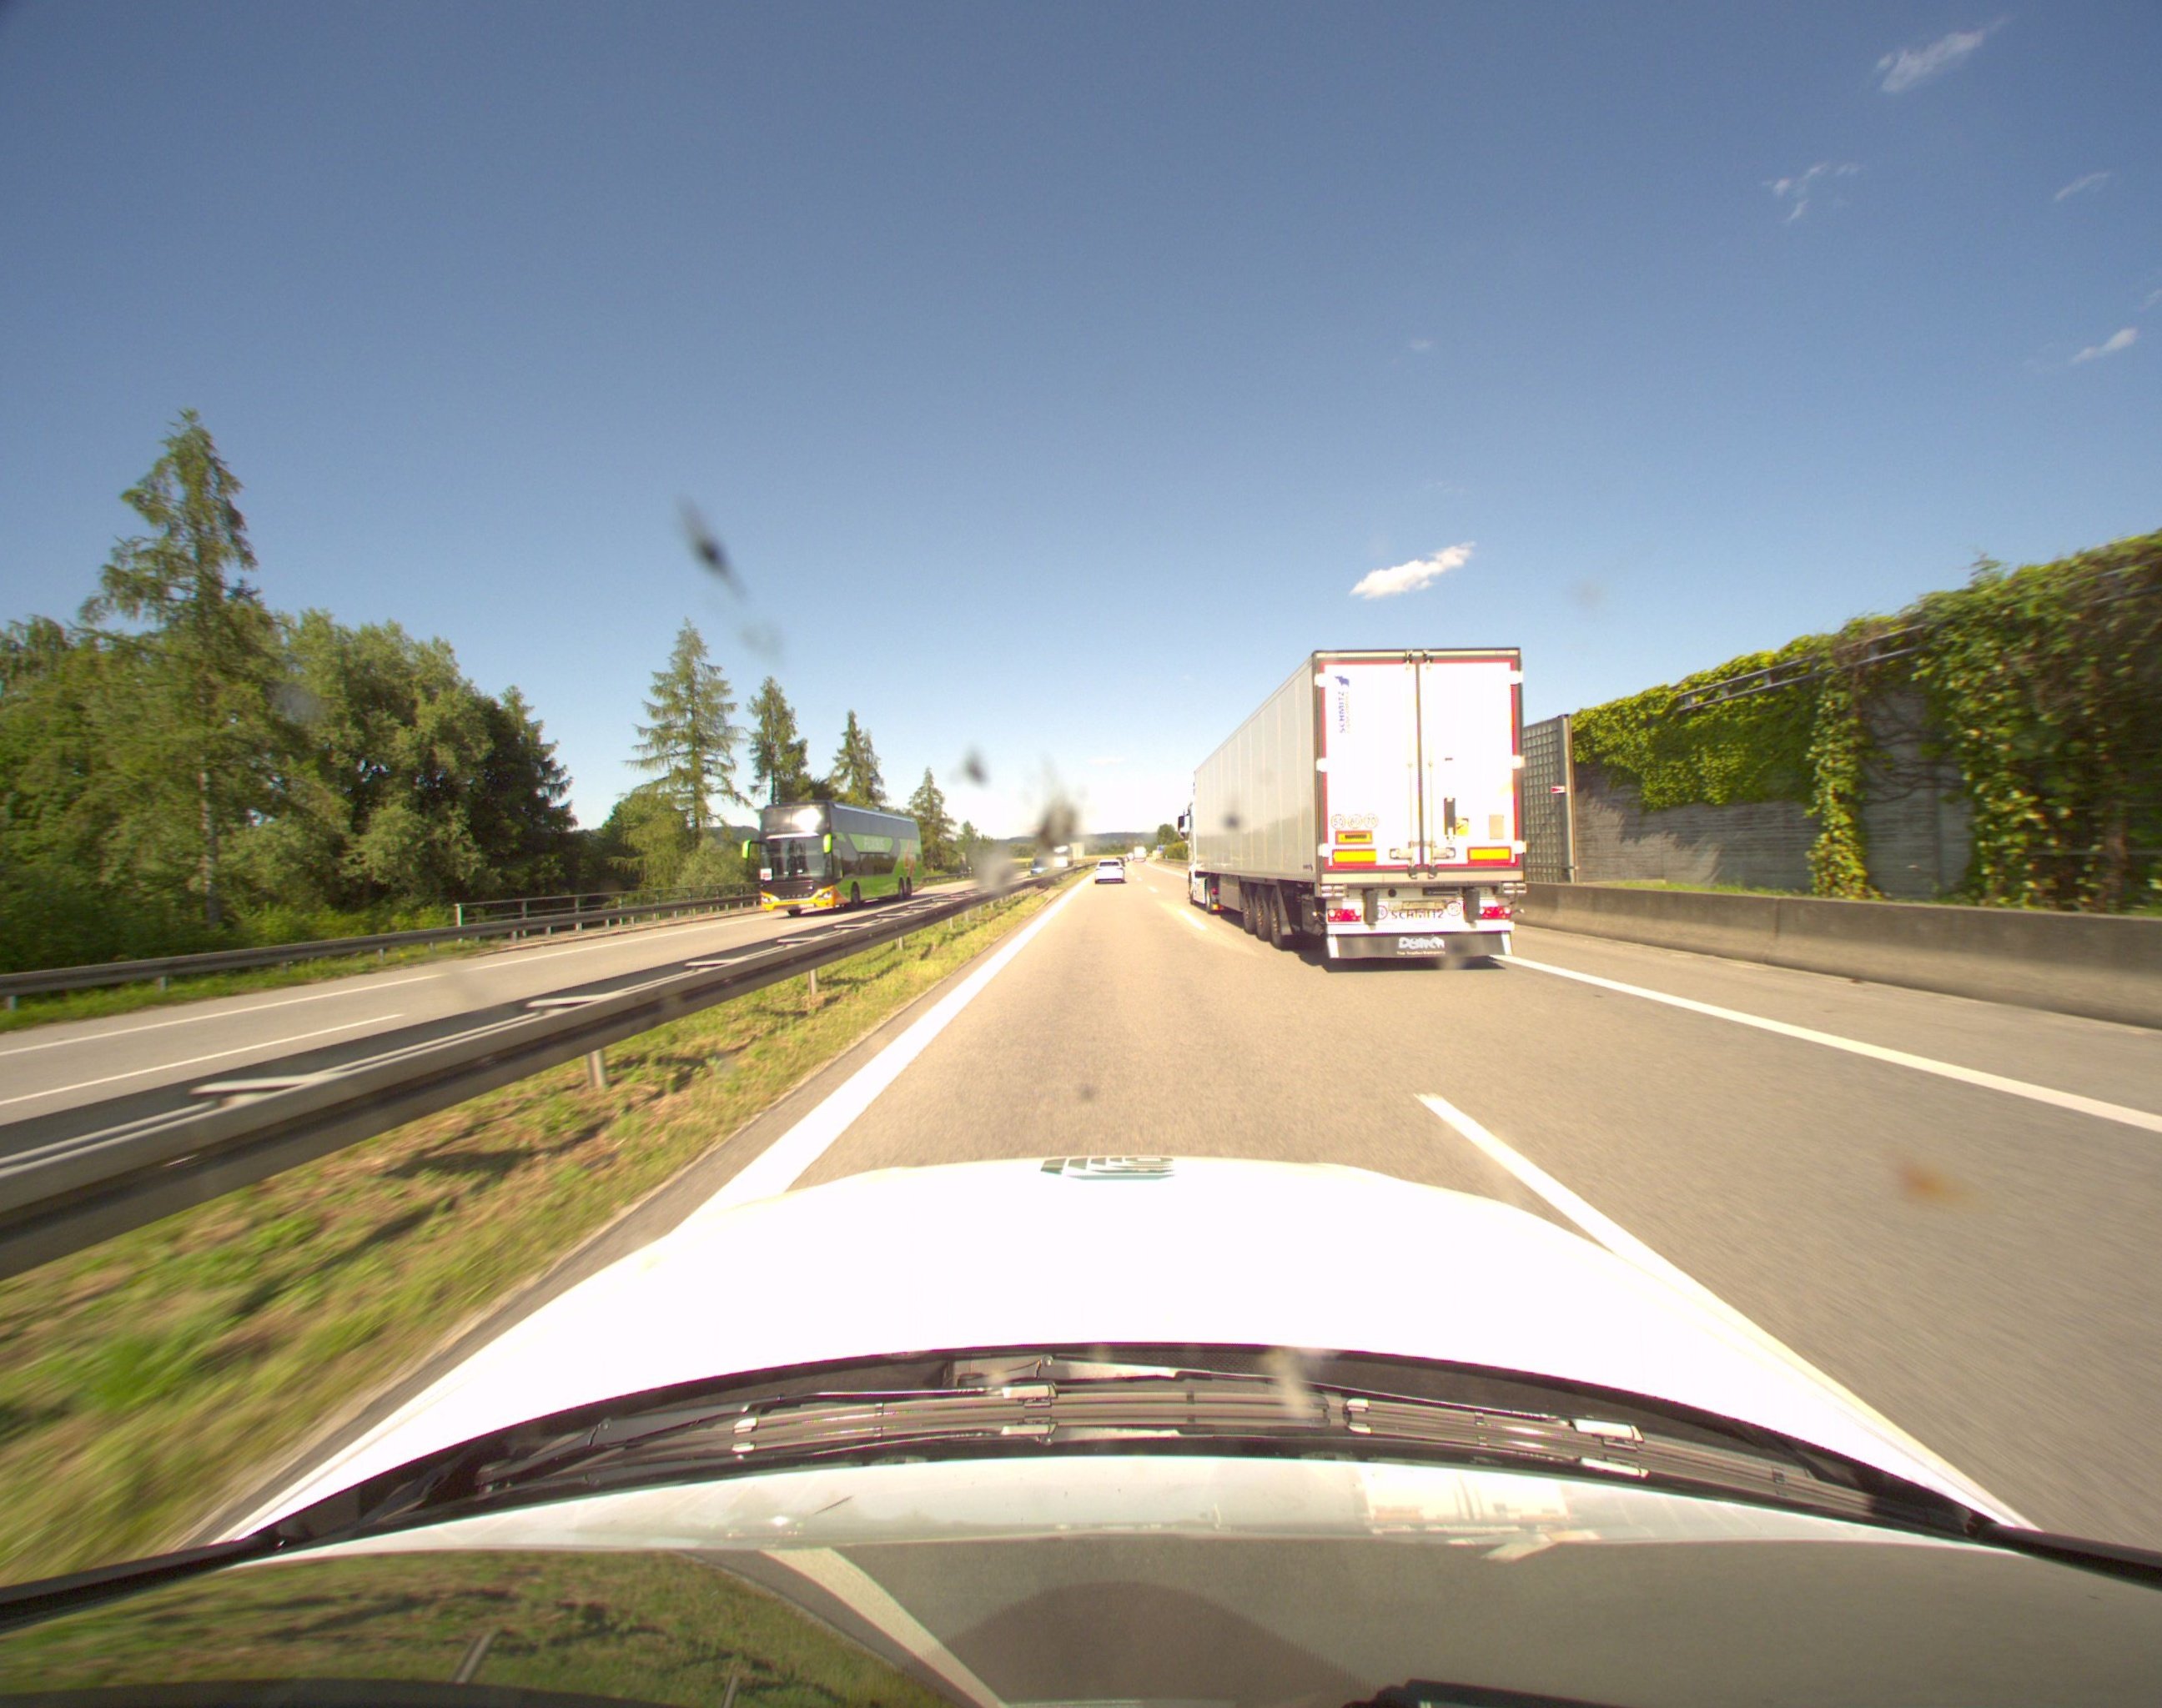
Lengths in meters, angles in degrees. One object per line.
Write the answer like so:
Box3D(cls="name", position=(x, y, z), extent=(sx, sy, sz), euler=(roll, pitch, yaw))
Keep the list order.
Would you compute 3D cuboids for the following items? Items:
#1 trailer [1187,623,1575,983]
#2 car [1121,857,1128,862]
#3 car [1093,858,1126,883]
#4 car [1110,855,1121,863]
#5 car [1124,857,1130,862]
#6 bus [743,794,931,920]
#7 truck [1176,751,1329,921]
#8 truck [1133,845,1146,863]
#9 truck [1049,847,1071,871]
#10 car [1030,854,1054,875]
Box3D(cls="trailer", position=(4.347, -0.581, 16.392), extent=(2.808, 3.966, 14.165), euler=(-3, 0, 2))
Box3D(cls="car", position=(12.076, 1.468, 224.561), extent=(1.764, 1.421, 4.369), euler=(-1, 0, 3))
Box3D(cls="car", position=(1.689, 0.956, 49.261), extent=(1.833, 1.421, 5.255), euler=(-1, 0, 1))
Box3D(cls="car", position=(6.610, 0.899, 155.781), extent=(1.762, 1.421, 4.503), euler=(-1, 0, 6))
Box3D(cls="car", position=(13.681, 1.568, 241.765), extent=(1.762, 1.421, 4.372), euler=(-1, 0, 6))
Box3D(cls="bus", position=(-9.557, 0.113, 34.681), extent=(2.925, 4.054, 14.674), euler=(-4, 0, 2))
Box3D(cls="truck", position=(4.557, -0.431, 23.240), extent=(2.830, 3.966, 7.045), euler=(-3, 0, 1))
Box3D(cls="truck", position=(15.418, 0.009, 213.170), extent=(3.138, 4.612, 8.917), euler=(-3, 0, 5))
Box3D(cls="truck", position=(-3.905, 0.894, 153.567), extent=(3.143, 4.101, 7.741), euler=(-4, 0, 3))
Box3D(cls="car", position=(-3.717, 0.968, 78.400), extent=(1.747, 1.849, 5.014), euler=(-4, 0, 2))
